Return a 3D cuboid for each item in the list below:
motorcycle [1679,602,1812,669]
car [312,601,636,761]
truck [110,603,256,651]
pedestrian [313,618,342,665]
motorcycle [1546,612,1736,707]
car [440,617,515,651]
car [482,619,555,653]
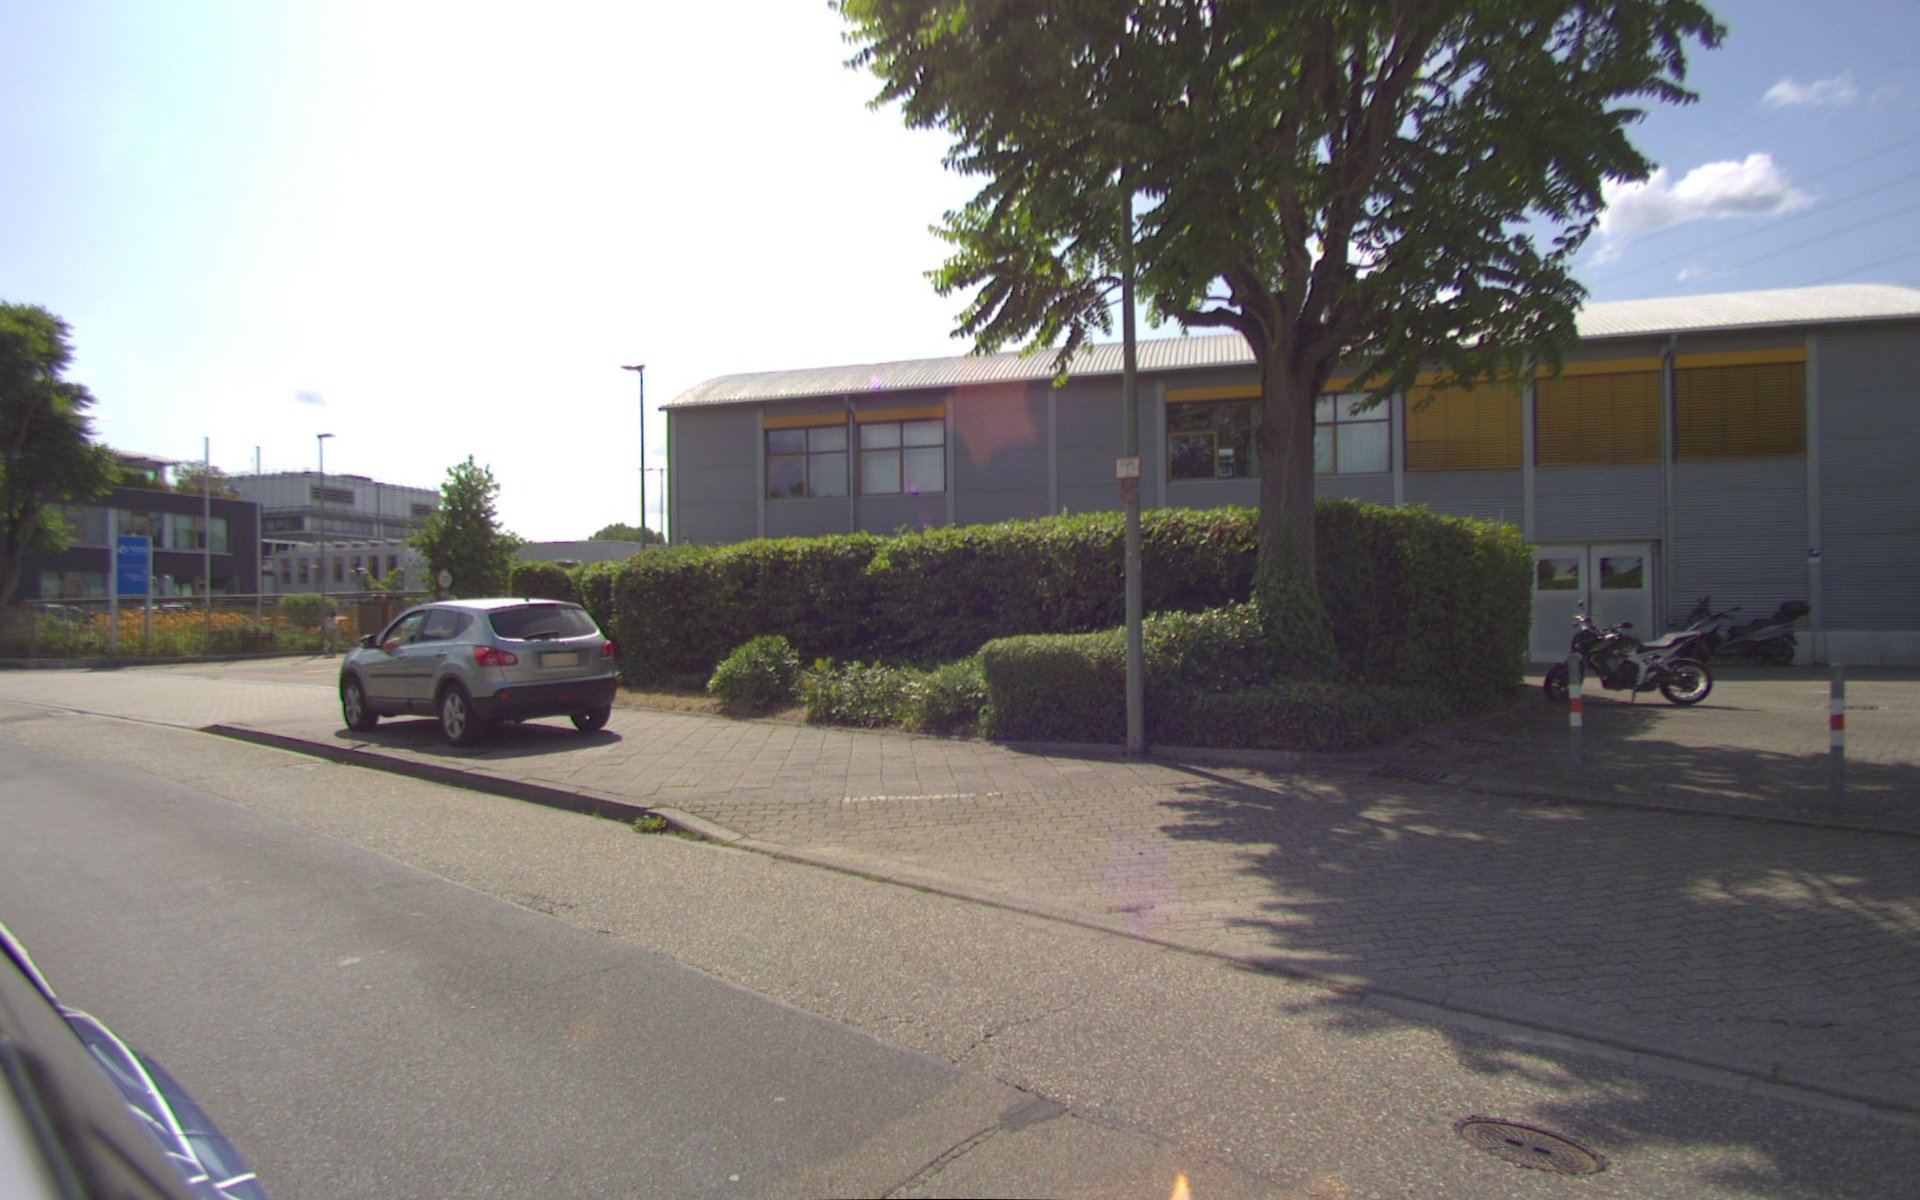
[{"bbox_3d":[16.192,0.739,20.912,2.082,1.336,0.531,-1,-1,15],"label":"motorcycle"},{"bbox_3d":[-5.992,0.848,12.245,4.471,1.586,1.741,-1,0,38],"label":"car"},{"bbox_3d":[-46.018,1.548,60.205,2.382,2.678,6.901,-1,-1,15],"label":"truck"},{"bbox_3d":[-23.549,1.534,37.679,0.727,1.704,0.546,2,0,16],"label":"pedestrian"},{"bbox_3d":[8.989,0.784,13.428,1.987,1.211,0.531,-1,-1,15],"label":"motorcycle"},{"bbox_3d":[-28.080,1.961,59.008,1.742,1.739,4.055,-2,0,14],"label":"car"},{"bbox_3d":[-25.558,2.059,58.699,1.742,1.739,4.055,-2,0,14],"label":"car"}]
